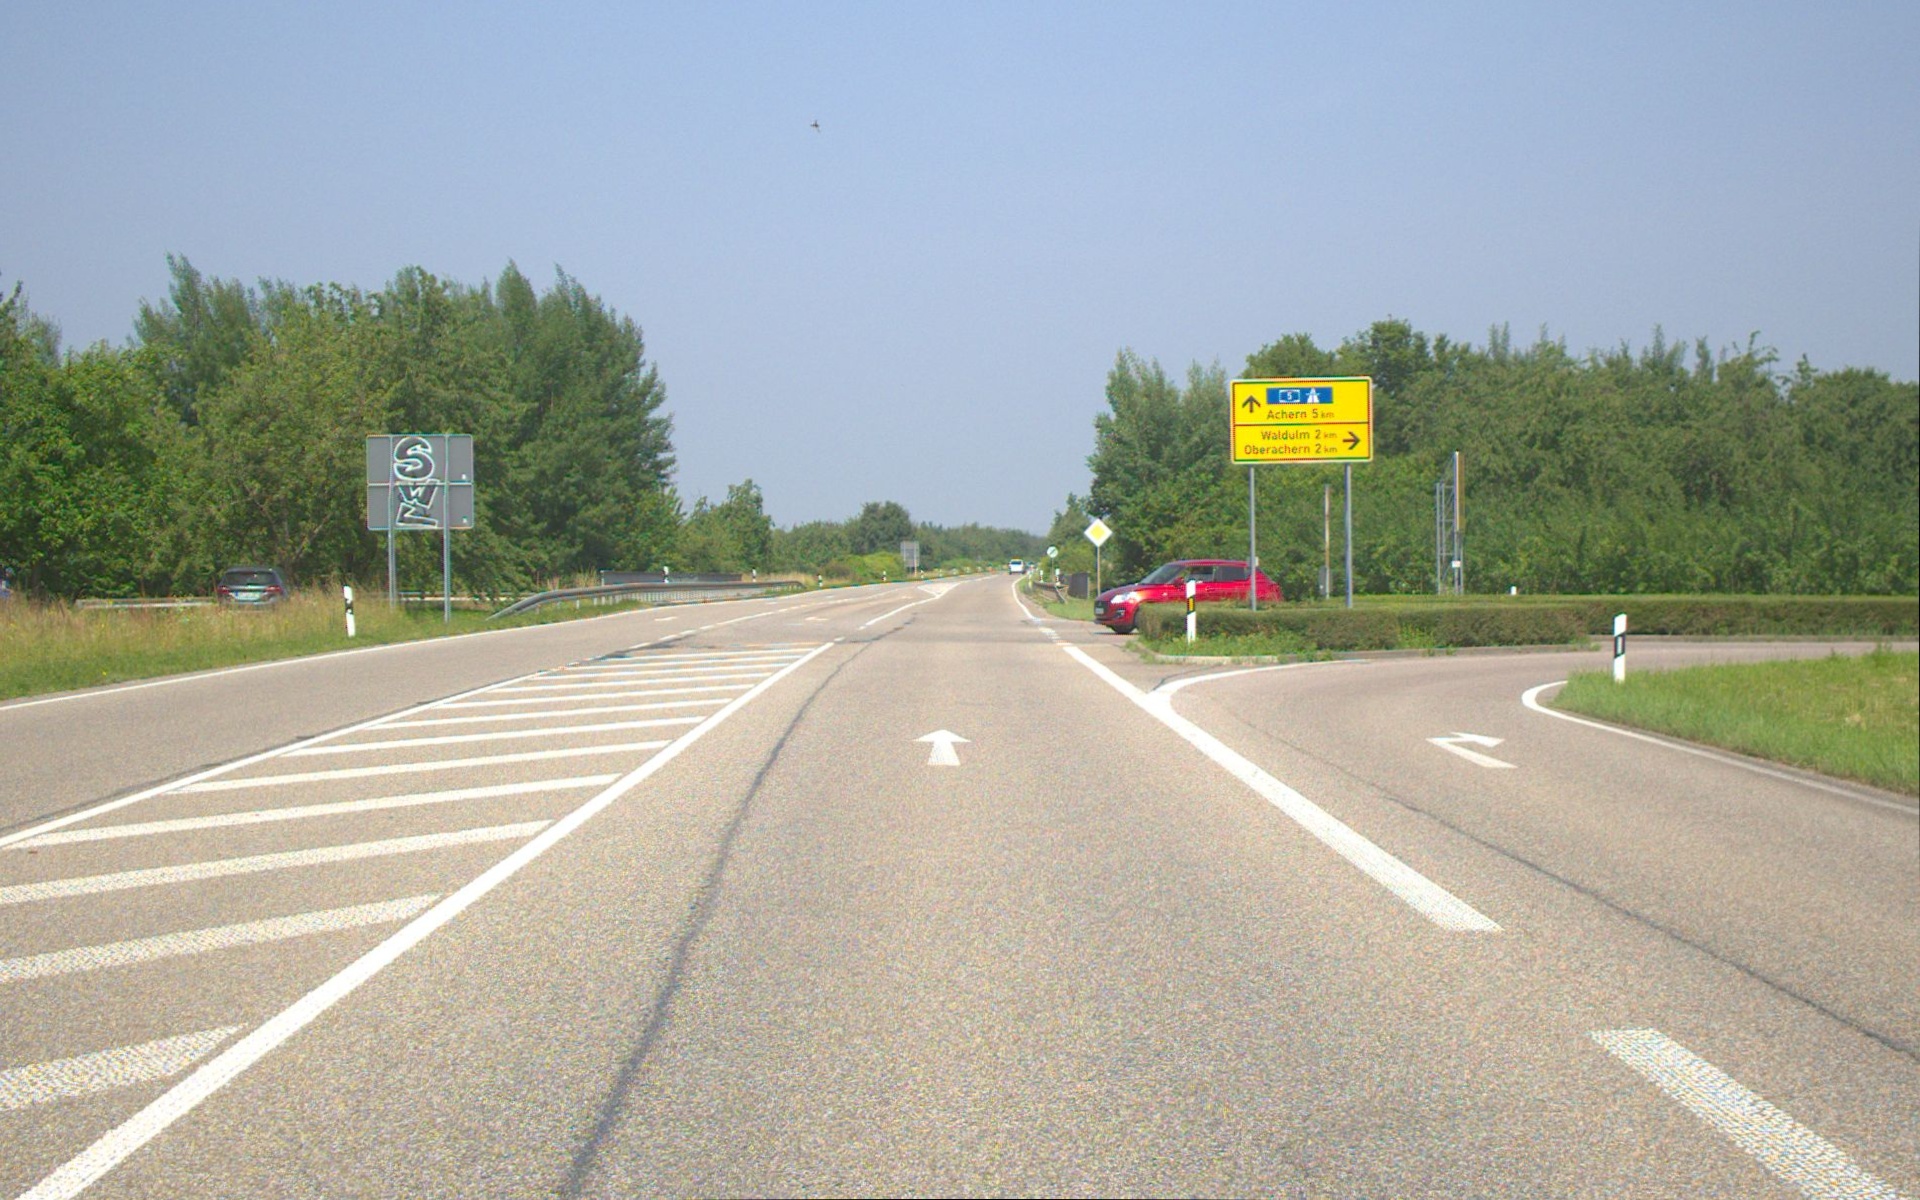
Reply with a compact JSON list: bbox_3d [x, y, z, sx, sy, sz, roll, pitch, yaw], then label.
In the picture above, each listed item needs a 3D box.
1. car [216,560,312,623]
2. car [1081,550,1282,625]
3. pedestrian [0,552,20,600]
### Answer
[{"bbox_3d":[-16.210,-0.222,80.203,1.704,1.418,4.044,-1,1,-4],"label":"car"},{"bbox_3d":[4.531,-0.257,70.389,3.739,1.487,1.672,1,1,-17],"label":"car"},{"bbox_3d":[-25.822,-0.647,93.084,0.573,1.293,0.556,0,0,2],"label":"pedestrian"}]
